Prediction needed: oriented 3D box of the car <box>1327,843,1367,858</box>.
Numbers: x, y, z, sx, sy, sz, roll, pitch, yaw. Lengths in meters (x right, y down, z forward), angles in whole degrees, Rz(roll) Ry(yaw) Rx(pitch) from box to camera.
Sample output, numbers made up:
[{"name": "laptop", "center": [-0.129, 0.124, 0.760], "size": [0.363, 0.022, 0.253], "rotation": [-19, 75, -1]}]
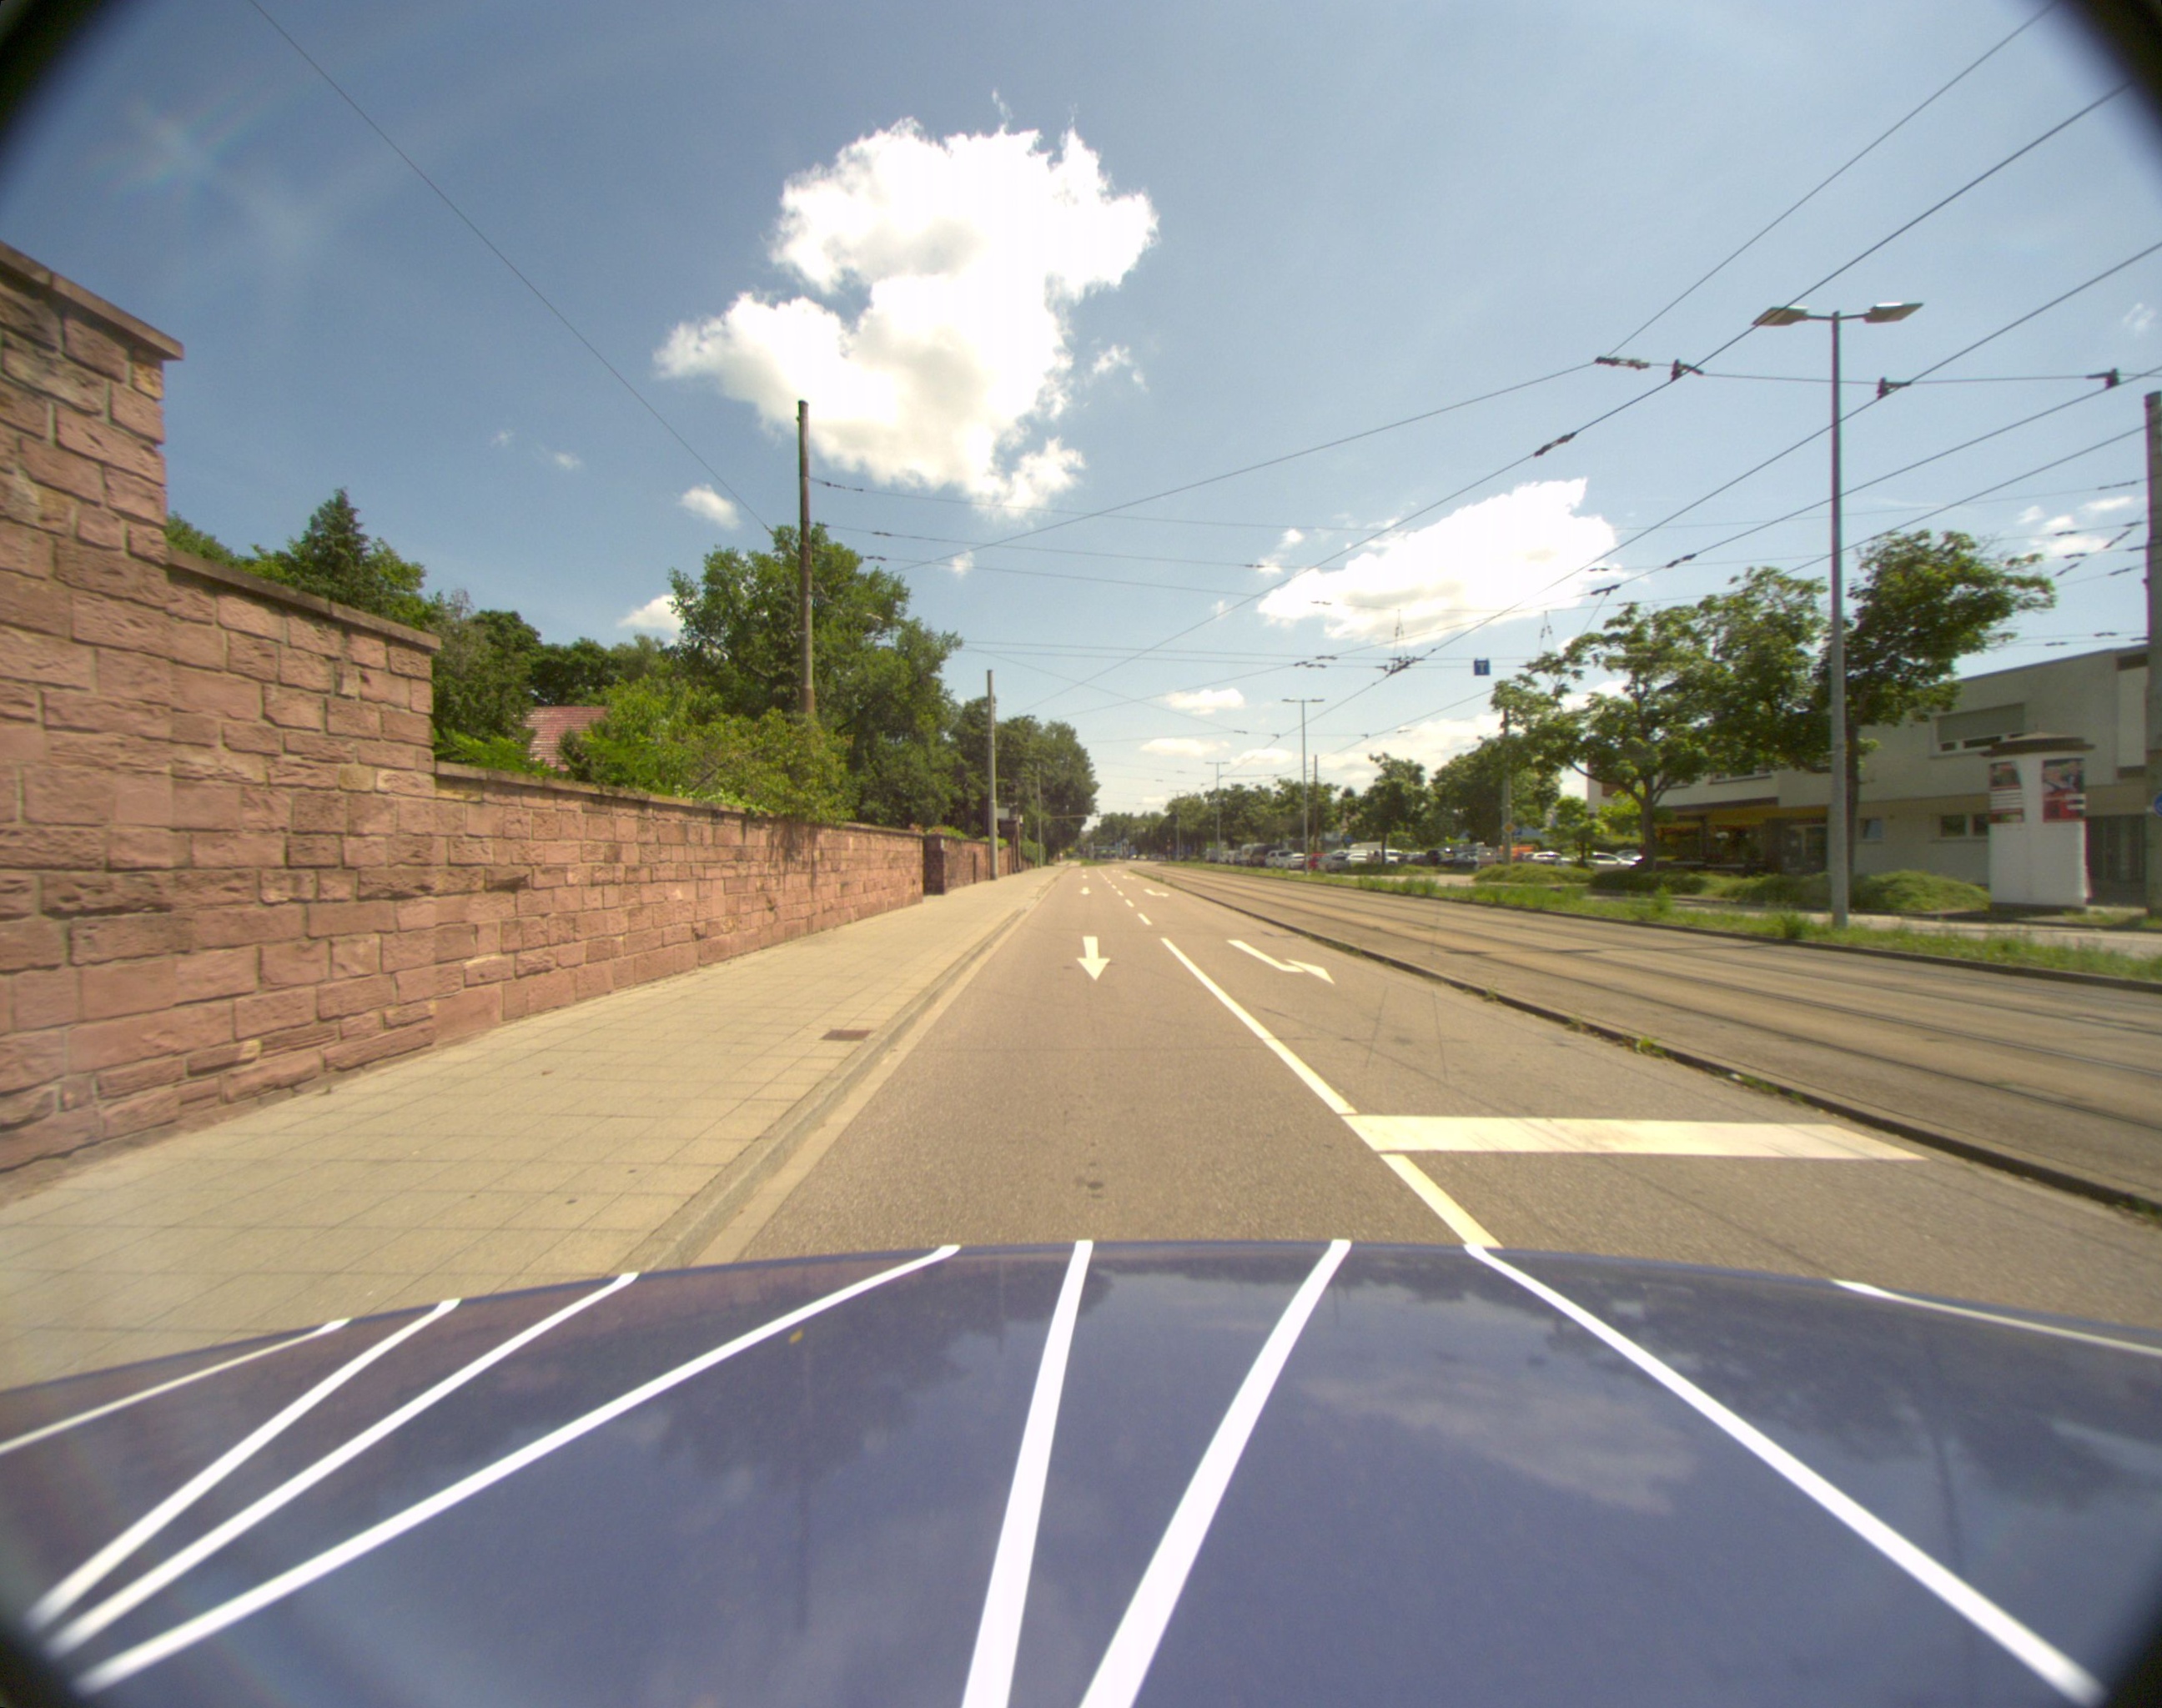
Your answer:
[{"name": "car", "center": [31.769, -0.414, 90.843], "size": [4.199, 1.726, 1.803], "rotation": [1, 1, 1]}]

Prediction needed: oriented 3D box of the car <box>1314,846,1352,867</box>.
[{"name": "car", "center": [20.443, 0.202, 61.776], "size": [1.580, 1.531, 4.550], "rotation": [-3, 1, 1]}]

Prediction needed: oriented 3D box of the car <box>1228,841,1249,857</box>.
[{"name": "car", "center": [20.895, -0.674, 100.992], "size": [1.794, 1.928, 4.648], "rotation": [-3, 1, 1]}]

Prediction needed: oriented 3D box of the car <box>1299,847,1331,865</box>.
[{"name": "car", "center": [20.618, 0.152, 67.017], "size": [1.503, 1.531, 3.648], "rotation": [-3, 1, -3]}]

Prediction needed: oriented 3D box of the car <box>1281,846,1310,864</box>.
[{"name": "car", "center": [20.135, 0.065, 71.528], "size": [1.503, 1.531, 4.358], "rotation": [-3, 1, 2]}]

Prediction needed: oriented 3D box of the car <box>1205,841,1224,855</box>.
[{"name": "car", "center": [21.016, -0.900, 119.784], "size": [2.071, 2.089, 4.488], "rotation": [-3, 1, -1]}]

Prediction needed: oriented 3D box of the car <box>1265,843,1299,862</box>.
[{"name": "car", "center": [20.601, -0.184, 78.151], "size": [2.156, 1.827, 4.887], "rotation": [-3, 1, 1]}]

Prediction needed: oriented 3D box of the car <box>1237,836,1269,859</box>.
[{"name": "car", "center": [20.842, -0.796, 92.330], "size": [2.156, 2.597, 6.703], "rotation": [-3, 1, -1]}]

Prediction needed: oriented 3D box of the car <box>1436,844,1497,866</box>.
[{"name": "car", "center": [30.776, 0.051, 60.747], "size": [3.997, 1.726, 1.803], "rotation": [0, 1, 1]}]

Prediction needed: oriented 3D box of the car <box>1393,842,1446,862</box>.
[{"name": "car", "center": [30.605, -0.168, 68.686], "size": [3.997, 1.726, 1.803], "rotation": [0, 1, 1]}]

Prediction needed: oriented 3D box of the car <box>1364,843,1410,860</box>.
[{"name": "car", "center": [31.980, -0.263, 79.422], "size": [3.997, 1.726, 1.803], "rotation": [1, 1, 1]}]

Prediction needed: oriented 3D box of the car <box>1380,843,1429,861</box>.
[{"name": "car", "center": [31.546, -0.210, 74.147], "size": [3.997, 1.726, 1.803], "rotation": [1, 1, 1]}]

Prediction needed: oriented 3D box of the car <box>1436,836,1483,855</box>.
[{"name": "car", "center": [44.432, -0.989, 89.224], "size": [4.652, 2.212, 1.851], "rotation": [1, 1, -2]}]

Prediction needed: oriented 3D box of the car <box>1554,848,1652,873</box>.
[{"name": "car", "center": [31.027, 0.365, 45.225], "size": [4.484, 1.426, 1.907], "rotation": [-1, 1, 3]}]

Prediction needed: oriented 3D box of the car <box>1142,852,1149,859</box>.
[{"name": "car", "center": [17.071, 0.356, 201.249], "size": [1.681, 1.680, 3.546], "rotation": [1, 1, 6]}]

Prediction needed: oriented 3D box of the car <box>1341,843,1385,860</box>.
[{"name": "car", "center": [30.532, -0.296, 82.325], "size": [3.997, 1.726, 1.803], "rotation": [1, 1, 1]}]

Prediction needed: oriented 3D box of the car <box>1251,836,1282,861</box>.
[{"name": "car", "center": [20.468, -0.681, 84.206], "size": [2.156, 2.597, 5.033], "rotation": [-3, 1, 1]}]

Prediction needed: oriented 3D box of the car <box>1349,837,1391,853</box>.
[{"name": "car", "center": [45.151, -1.372, 118.646], "size": [5.698, 2.467, 2.259], "rotation": [-1, 1, -2]}]

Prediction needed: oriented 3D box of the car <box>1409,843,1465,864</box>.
[{"name": "car", "center": [30.808, -0.096, 65.843], "size": [3.997, 1.726, 1.803], "rotation": [1, 1, 1]}]

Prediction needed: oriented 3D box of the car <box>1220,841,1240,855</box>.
[{"name": "car", "center": [21.115, -0.867, 107.739], "size": [1.795, 1.928, 4.488], "rotation": [-3, 1, -1]}]

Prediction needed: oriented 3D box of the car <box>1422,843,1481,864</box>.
[{"name": "car", "center": [30.954, -0.046, 63.504], "size": [3.997, 1.726, 1.879], "rotation": [0, 1, 1]}]

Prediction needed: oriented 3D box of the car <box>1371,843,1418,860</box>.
[{"name": "car", "center": [31.616, -0.253, 76.670], "size": [3.997, 1.726, 1.903], "rotation": [0, 1, 1]}]
